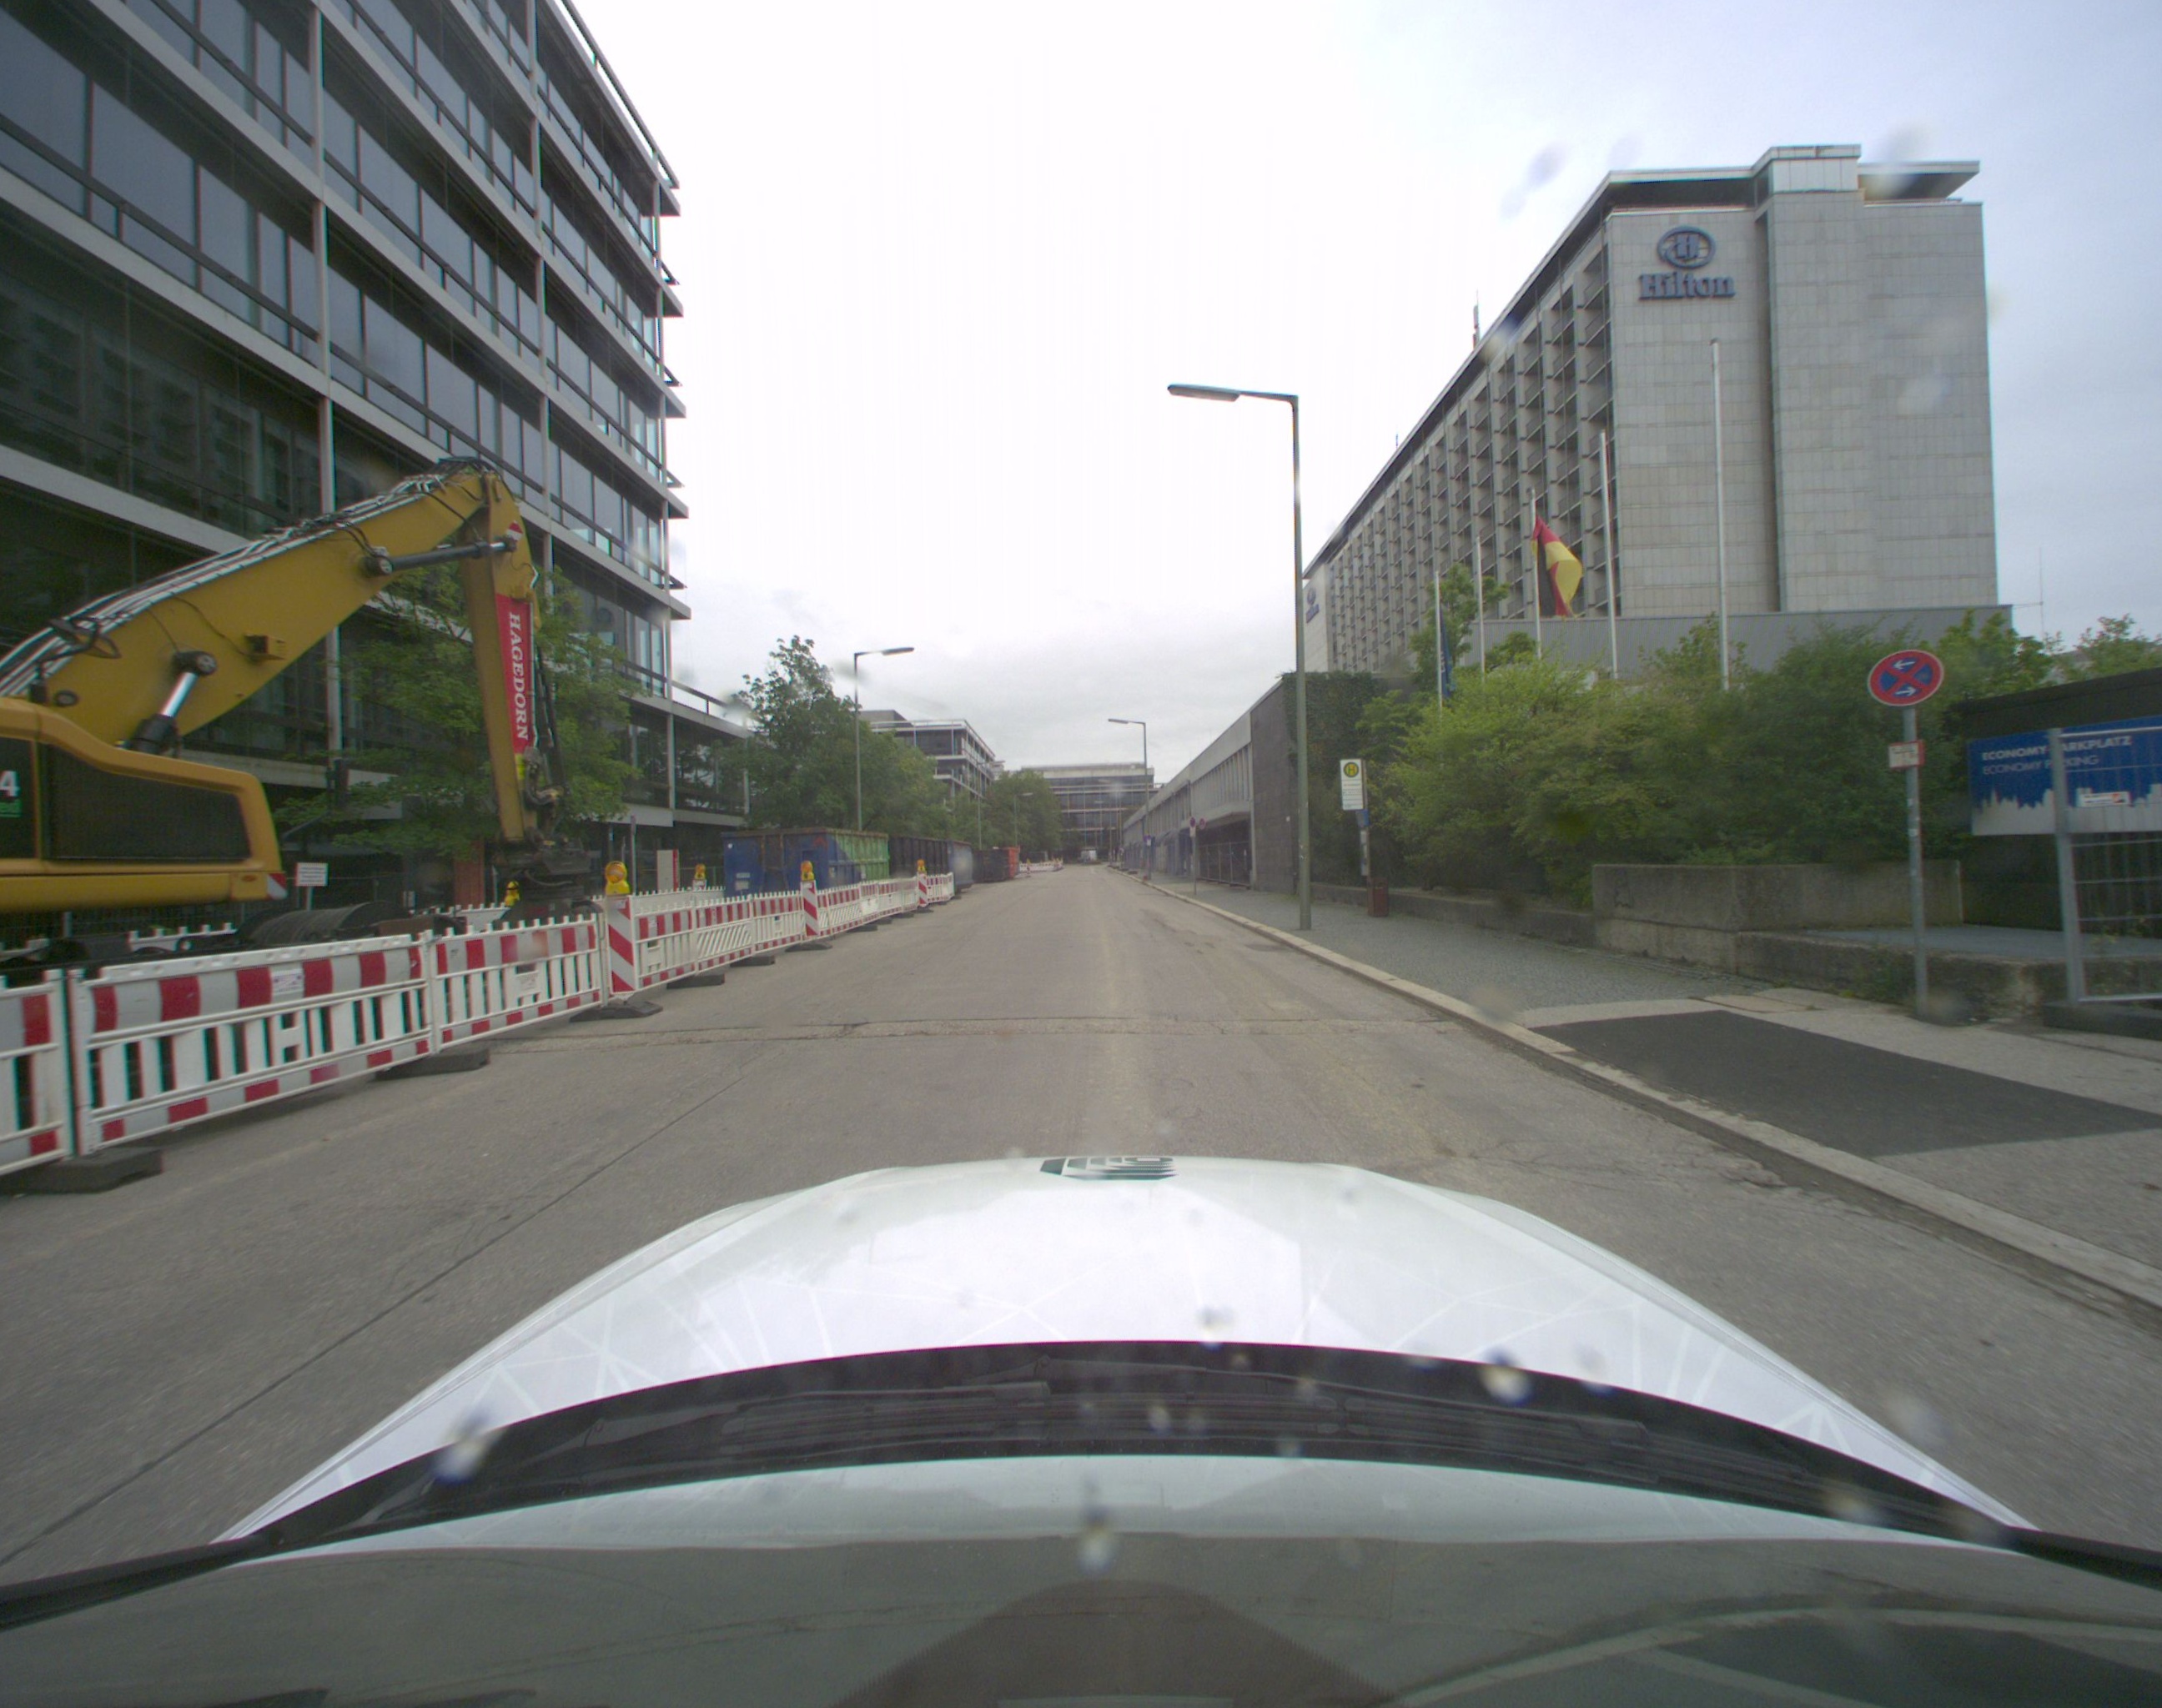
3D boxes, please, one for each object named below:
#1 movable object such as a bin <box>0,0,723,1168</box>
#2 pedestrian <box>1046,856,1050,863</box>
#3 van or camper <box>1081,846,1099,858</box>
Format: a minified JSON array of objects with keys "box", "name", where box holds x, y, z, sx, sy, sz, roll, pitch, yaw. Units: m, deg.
[{"box":[-7.343,-1.510,7.298,2.895,6.564,11.780,-2,-1,0],"name":"movable object such as a bin"},{"box":[-7.305,1.198,179.602,0.744,1.677,0.678,-2,0,-19],"name":"pedestrian"},{"box":[1.970,-0.340,180.642,2.096,2.492,5.025,-2,0,-25],"name":"van or camper"}]
